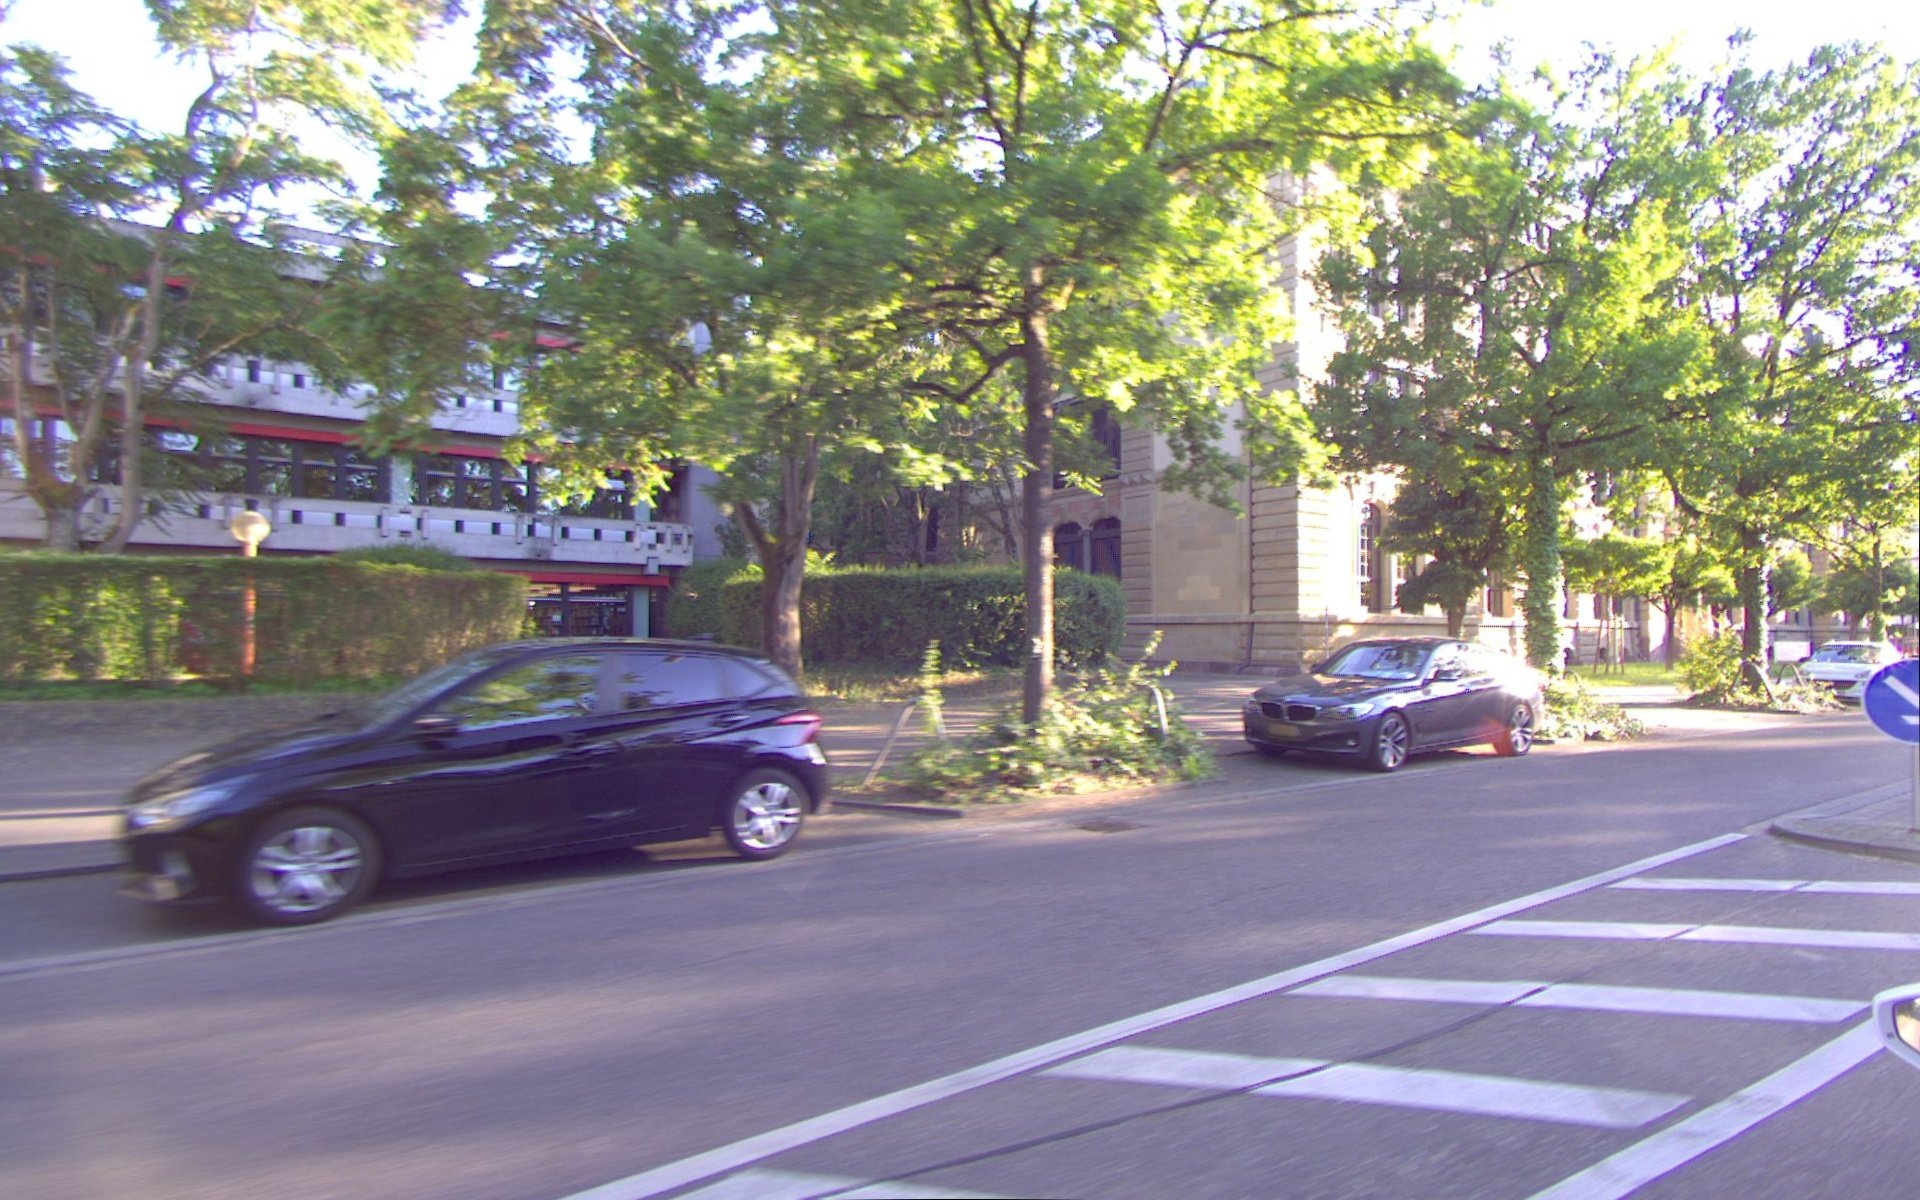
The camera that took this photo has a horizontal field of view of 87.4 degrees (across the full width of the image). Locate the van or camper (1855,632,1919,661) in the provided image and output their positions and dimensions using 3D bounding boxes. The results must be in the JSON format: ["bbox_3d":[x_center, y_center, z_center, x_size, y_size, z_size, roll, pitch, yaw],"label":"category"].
[{"bbox_3d":[72.458,3.574,77.487,1.978,2.012,4.741,-4,0,-33],"label":"van or camper"}]

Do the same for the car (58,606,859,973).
[{"bbox_3d":[-2.871,0.910,6.437,4.107,1.637,1.768,2,-2,-36],"label":"car"}]

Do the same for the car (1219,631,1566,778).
[{"bbox_3d":[5.600,1.193,12.742,4.814,1.530,1.791,2,-2,-35],"label":"car"}]

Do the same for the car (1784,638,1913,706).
[{"bbox_3d":[22.014,1.722,24.855,3.887,1.516,1.607,2,-2,-36],"label":"car"}]
